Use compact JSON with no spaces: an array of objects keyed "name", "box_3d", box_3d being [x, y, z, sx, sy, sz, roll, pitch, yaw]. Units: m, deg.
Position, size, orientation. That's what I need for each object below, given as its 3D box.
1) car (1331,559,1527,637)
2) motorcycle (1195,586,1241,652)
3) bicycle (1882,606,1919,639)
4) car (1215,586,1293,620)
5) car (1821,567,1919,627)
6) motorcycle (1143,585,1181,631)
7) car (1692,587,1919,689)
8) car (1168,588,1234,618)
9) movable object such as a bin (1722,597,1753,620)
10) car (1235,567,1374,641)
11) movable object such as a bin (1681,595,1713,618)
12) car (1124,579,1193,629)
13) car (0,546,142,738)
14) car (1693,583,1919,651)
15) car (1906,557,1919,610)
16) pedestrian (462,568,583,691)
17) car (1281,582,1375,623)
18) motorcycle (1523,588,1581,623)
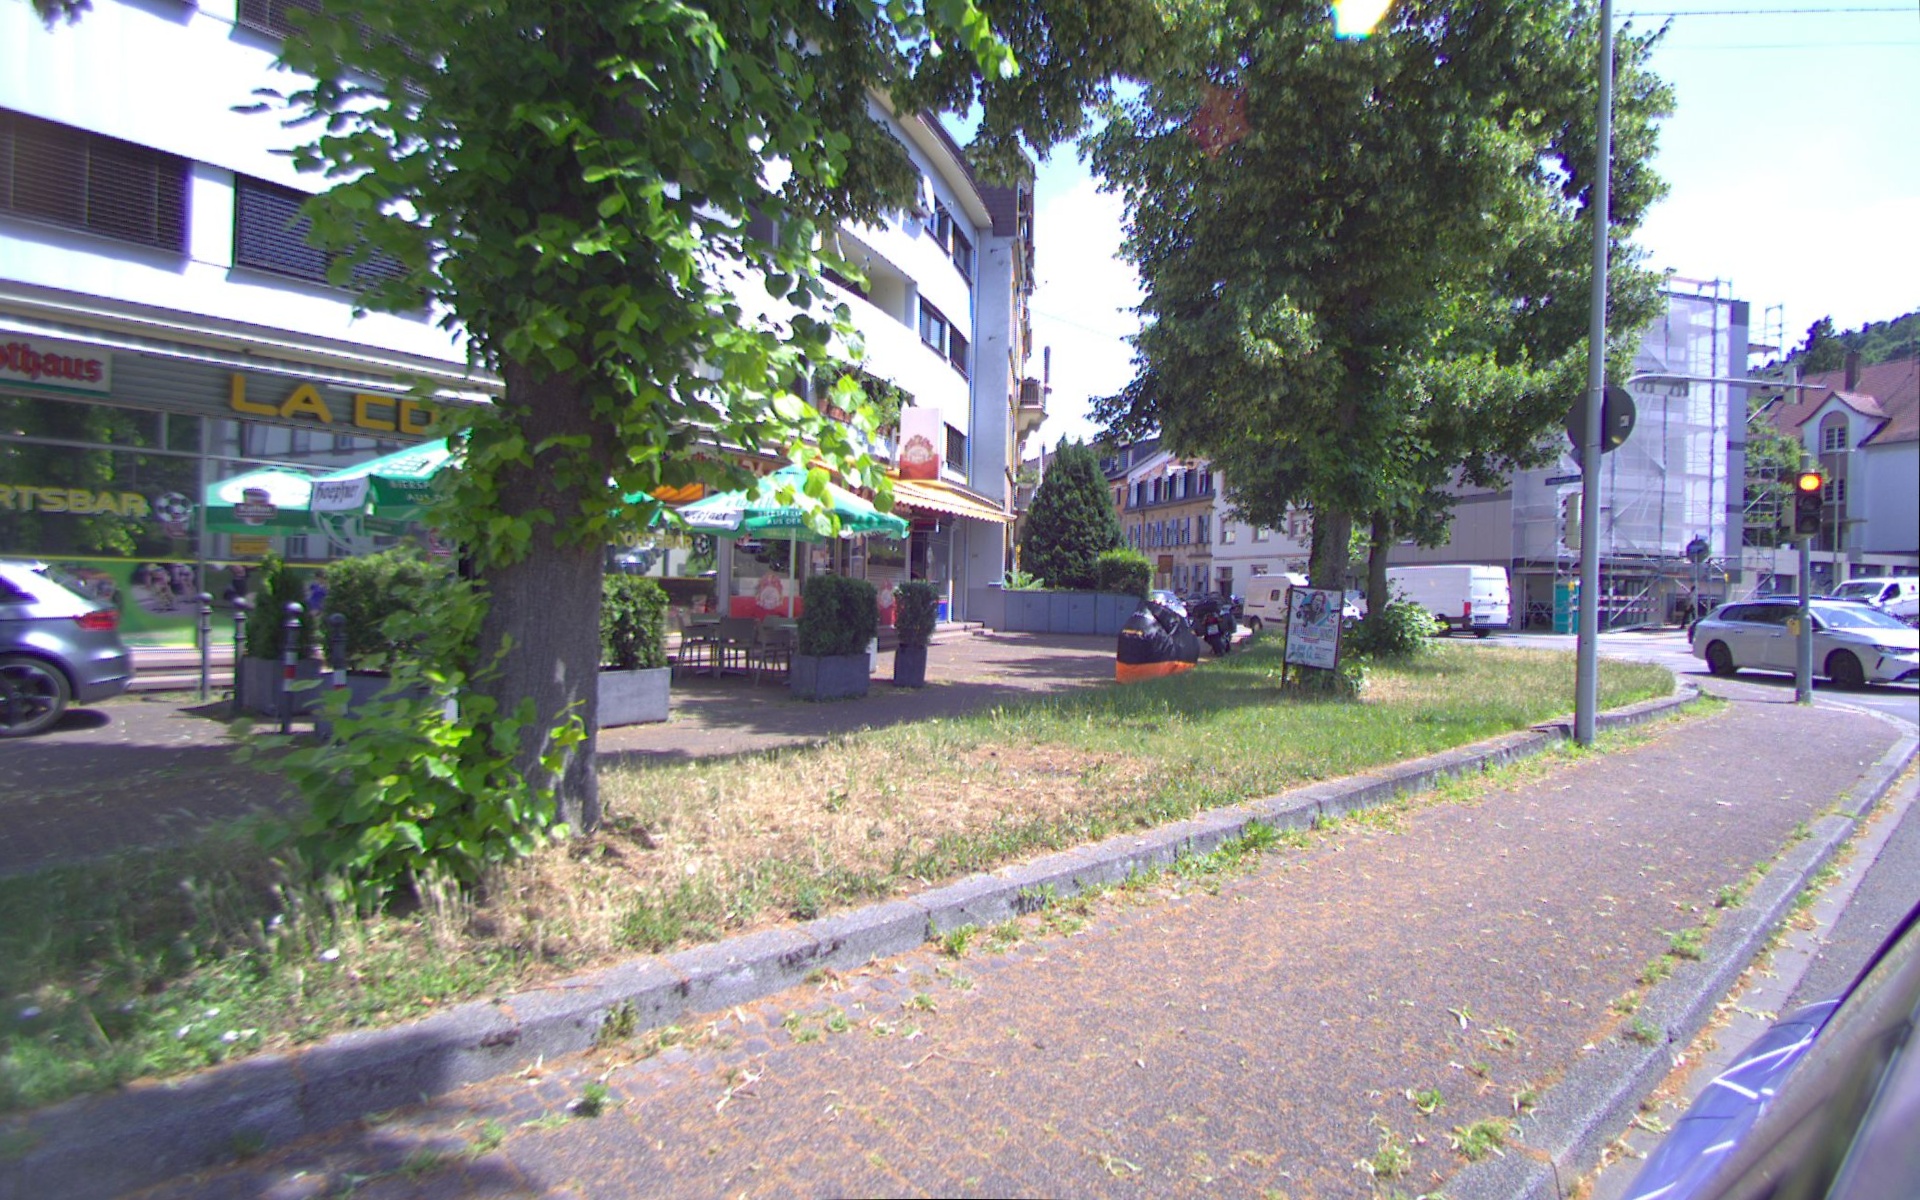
[{"name":"car","box_3d":[17.425,-0.229,38.292,2.177,2.531,7.573,-2,3,-18]},{"name":"motorcycle","box_3d":[5.509,0.375,21.649,0.905,1.329,2.215,0,1,14]},{"name":"bicycle","box_3d":[28.914,0.678,30.480,0.390,0.979,1.722,0,1,-19]},{"name":"car","box_3d":[16.248,0.133,56.184,1.851,1.661,4.673,2,0,-16]},{"name":"car","box_3d":[36.208,-0.159,39.305,4.908,2.038,2.004,-3,1,-20]},{"name":"motorcycle","box_3d":[6.137,0.254,30.902,0.917,1.319,2.276,2,-1,7]},{"name":"car","box_3d":[15.292,0.563,17.559,1.870,1.516,4.487,1,1,0]},{"name":"car","box_3d":[14.699,0.142,61.978,1.851,1.661,4.828,2,0,-14]},{"name":"movable object such as a bin","box_3d":[32.019,0.339,41.684,0.725,0.938,0.705,0,0,-13]},{"name":"car","box_3d":[11.659,0.086,34.744,1.866,2.303,5.683,1,1,-12]},{"name":"movable object such as a bin","box_3d":[31.665,0.279,43.504,0.725,0.938,0.828,0,0,-13]},{"name":"car","box_3d":[6.729,0.159,34.771,1.808,1.568,5.147,2,-1,5]},{"name":"car","box_3d":[-8.723,0.316,7.218,1.701,1.446,4.298,1,2,41]},{"name":"car","box_3d":[21.468,0.371,25.764,1.819,1.577,4.295,0,1,-18]},{"name":"car","box_3d":[42.230,-0.786,41.884,4.908,2.204,2.079,-3,1,-13]},{"name":"pedestrian","box_3d":[-4.993,0.311,11.571,0.811,1.322,1.003,1,0,38]},{"name":"car","box_3d":[18.137,0.070,50.157,1.879,1.848,4.799,2,0,-16]},{"name":"motorcycle","box_3d":[25.137,0.219,43.026,2.020,1.490,0.875,0,0,24]}]
